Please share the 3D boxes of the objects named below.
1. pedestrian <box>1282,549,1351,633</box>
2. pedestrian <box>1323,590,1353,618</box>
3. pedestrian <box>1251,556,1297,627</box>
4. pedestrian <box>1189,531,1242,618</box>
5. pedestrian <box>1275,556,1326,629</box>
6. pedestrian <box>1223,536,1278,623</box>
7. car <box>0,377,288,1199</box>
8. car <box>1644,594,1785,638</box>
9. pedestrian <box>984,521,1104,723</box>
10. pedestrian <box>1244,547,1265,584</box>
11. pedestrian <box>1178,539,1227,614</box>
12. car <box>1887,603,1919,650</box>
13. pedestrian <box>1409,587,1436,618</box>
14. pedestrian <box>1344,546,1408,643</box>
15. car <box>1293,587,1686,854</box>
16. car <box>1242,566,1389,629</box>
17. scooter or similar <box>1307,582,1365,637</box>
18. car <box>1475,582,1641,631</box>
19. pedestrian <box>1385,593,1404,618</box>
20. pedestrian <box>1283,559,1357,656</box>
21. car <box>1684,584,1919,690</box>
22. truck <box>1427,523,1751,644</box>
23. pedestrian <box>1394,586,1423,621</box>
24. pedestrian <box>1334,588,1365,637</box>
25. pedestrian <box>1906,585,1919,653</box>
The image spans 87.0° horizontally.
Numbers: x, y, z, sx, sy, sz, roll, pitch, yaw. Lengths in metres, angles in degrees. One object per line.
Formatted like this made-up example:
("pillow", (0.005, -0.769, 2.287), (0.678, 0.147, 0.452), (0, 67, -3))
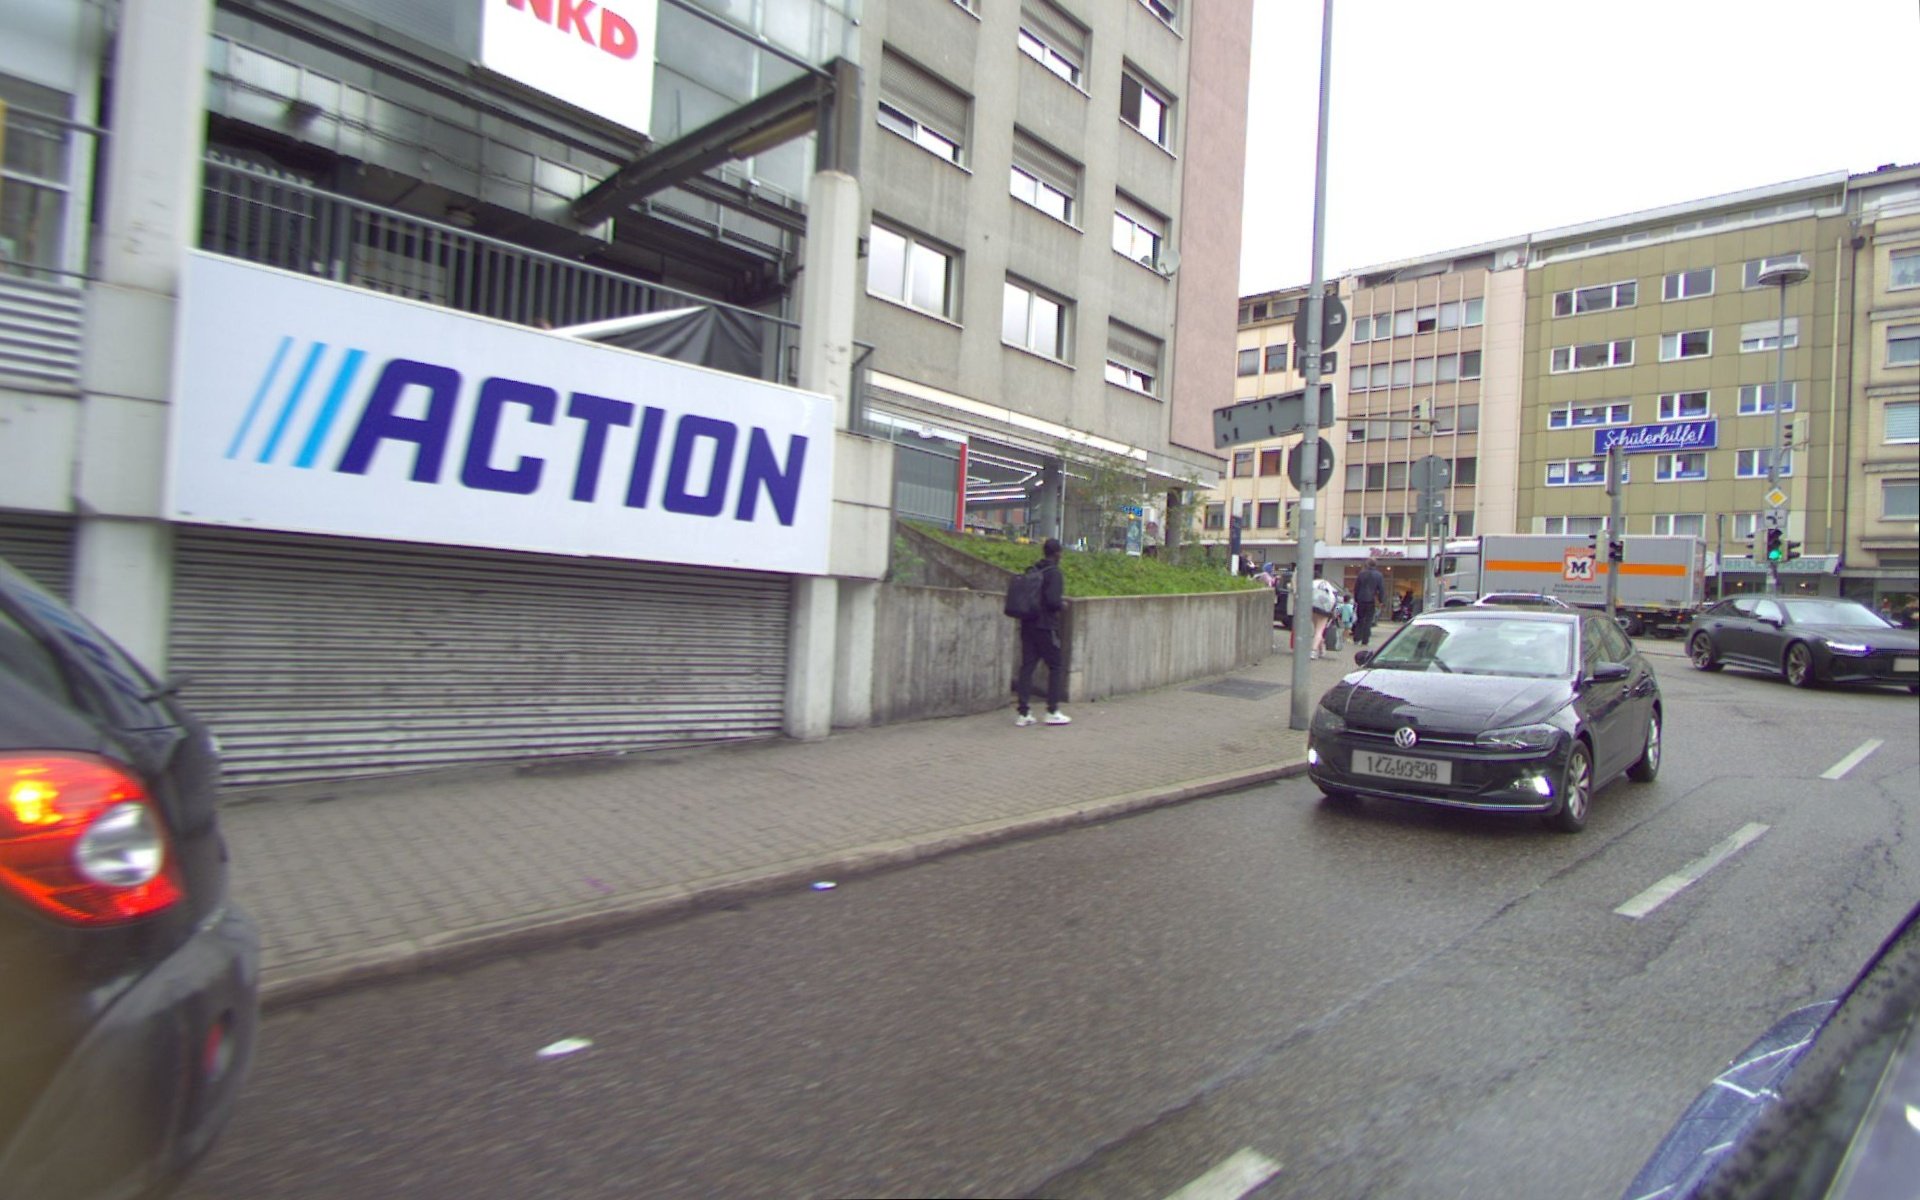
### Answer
("pedestrian", (7.805, -0.195, 22.163), (1.017, 1.744, 0.839), (5, 0, -29))
("pedestrian", (8.365, 0.084, 22.416), (0.364, 0.578, 0.459), (5, 0, -26))
("pedestrian", (7.770, -0.225, 25.071), (0.731, 1.654, 0.597), (7, 2, -4))
("pedestrian", (6.018, -0.598, 23.842), (0.805, 1.955, 0.732), (4, 1, -37))
("pedestrian", (8.363, -0.187, 24.837), (0.837, 1.656, 0.532), (9, 1, 44))
("pedestrian", (6.750, -0.478, 23.493), (0.823, 1.887, 0.658), (6, 1, -41))
("car", (-3.339, 0.528, 0.993), (4.227, 1.808, 1.910), (1, 1, -42))
("car", (30.523, 0.607, 41.039), (4.387, 1.570, 1.824), (2, 2, 44))
("pedestrian", (0.827, 0.198, 9.893), (0.599, 1.863, 0.996), (3, 1, 45))
("pedestrian", (6.820, -0.801, 23.449), (0.216, 0.857, 0.442), (1, 2, -24))
("pedestrian", (5.982, -0.572, 24.969), (0.822, 1.743, 0.618), (5, 2, -37))
("car", (30.967, 0.929, 30.055), (1.958, 1.443, 4.645), (3, 1, -19))
("pedestrian", (23.172, 0.113, 50.741), (1.062, 1.503, 0.658), (2, 1, 43))
("pedestrian", (8.602, -0.126, 20.941), (0.605, 1.889, 0.789), (7, 2, -30))
("car", (4.217, 0.663, 7.764), (1.737, 1.448, 3.821), (1, 2, 43))
("car", (9.639, -0.123, 27.781), (1.833, 1.566, 4.113), (2, 1, -13))
("scooter or similar", (8.330, 0.208, 22.434), (0.953, 1.123, 0.656), (5, 0, -26))
("car", (20.497, 0.202, 34.828), (4.618, 1.433, 1.769), (3, 1, 44))
("pedestrian", (22.567, 0.278, 52.581), (0.718, 1.265, 0.528), (2, 1, 43))
("pedestrian", (6.260, 0.102, 17.574), (1.047, 1.550, 1.020), (5, 3, 23))
("car", (14.561, 0.550, 17.036), (1.969, 1.510, 4.719), (3, 1, 11))
("truck", (25.179, -0.817, 41.224), (2.809, 4.387, 10.744), (2, 1, -45))
("pedestrian", (22.907, 0.158, 51.655), (1.083, 1.716, 0.940), (2, 1, 43))
("pedestrian", (8.414, 0.266, 21.851), (0.256, 1.012, 0.473), (8, -1, -22))
("pedestrian", (21.878, 0.441, 22.874), (0.694, 1.506, 0.560), (1, 3, -41))
